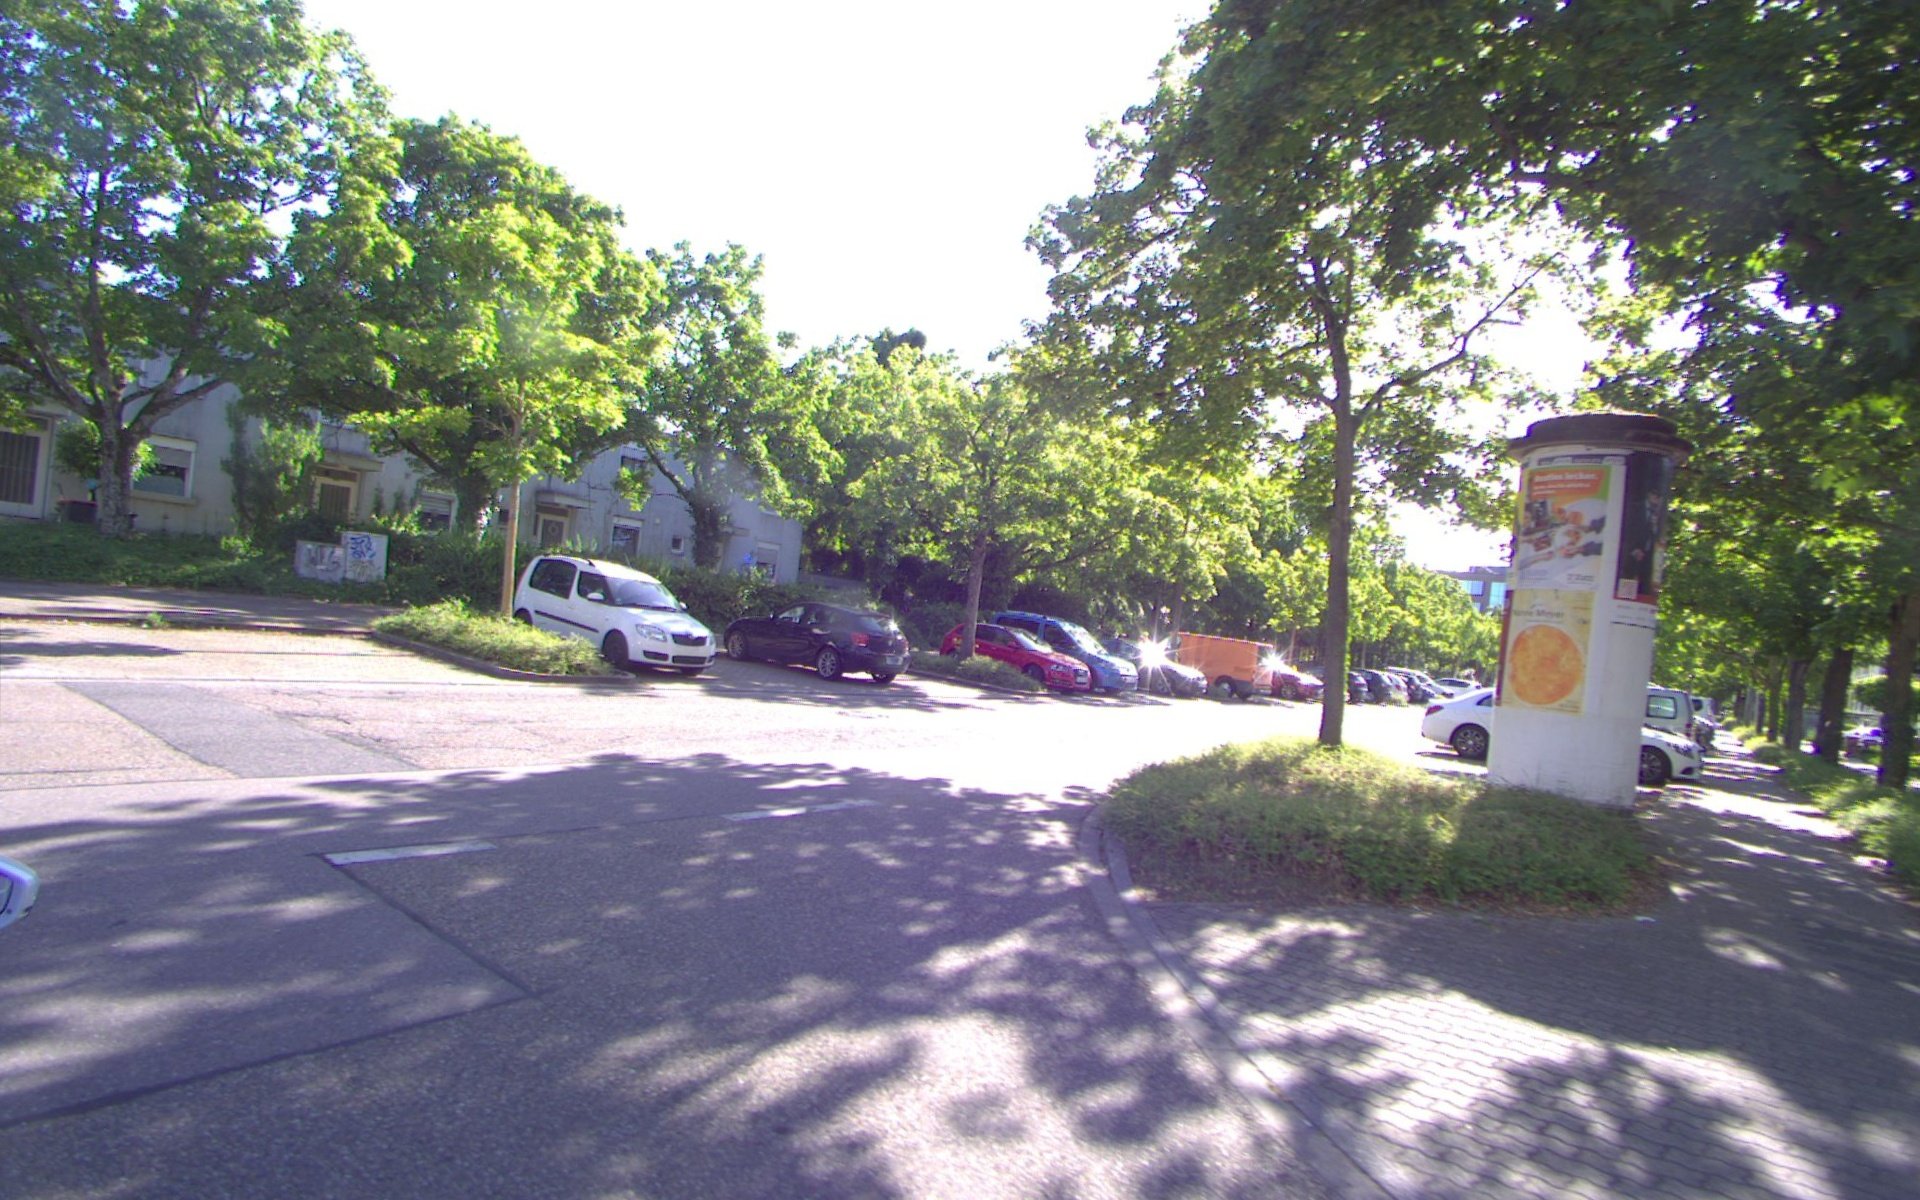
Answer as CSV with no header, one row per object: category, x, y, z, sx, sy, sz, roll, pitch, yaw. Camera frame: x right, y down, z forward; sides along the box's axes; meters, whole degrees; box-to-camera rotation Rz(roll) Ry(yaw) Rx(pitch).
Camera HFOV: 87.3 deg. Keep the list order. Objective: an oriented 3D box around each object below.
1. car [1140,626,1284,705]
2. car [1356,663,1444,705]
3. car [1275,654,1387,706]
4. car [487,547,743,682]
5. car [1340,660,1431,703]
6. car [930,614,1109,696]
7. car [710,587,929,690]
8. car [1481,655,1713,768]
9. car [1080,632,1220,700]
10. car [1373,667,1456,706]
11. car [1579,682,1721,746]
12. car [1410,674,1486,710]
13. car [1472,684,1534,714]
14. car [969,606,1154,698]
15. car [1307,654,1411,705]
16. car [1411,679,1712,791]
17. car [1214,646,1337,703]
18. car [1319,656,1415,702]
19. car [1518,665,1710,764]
car,8.692,2.229,34.763,4.193,2.058,1.967,8,1,36
car,25.625,4.855,58.603,4.193,1.737,1.968,8,1,36
car,16.619,3.584,45.104,4.193,1.634,1.968,8,1,36
car,-5.713,0.206,16.469,4.103,1.618,1.823,8,1,36
car,23.893,4.563,56.507,4.193,1.737,1.968,8,1,36
car,1.483,1.384,25.657,4.103,1.424,1.823,8,1,36
car,-2.856,0.738,20.056,4.103,1.424,1.823,8,1,36
car,15.851,2.724,25.164,4.565,2.015,1.994,7,-1,37
car,5.858,2.033,31.205,3.728,1.492,1.763,8,1,36
car,28.157,5.333,62.337,4.193,1.737,1.968,8,1,36
car,27.987,4.595,40.902,4.496,1.852,1.994,7,-1,37
car,32.920,6.175,67.855,4.193,1.737,1.968,8,1,36
car,44.967,8.182,83.322,4.193,1.737,1.968,8,1,36
car,2.715,1.402,27.601,4.592,1.795,1.823,8,1,36
car,19.489,3.875,49.198,4.193,1.775,1.968,8,1,36
car,11.283,2.453,19.042,4.621,1.423,1.822,4,-2,39
car,12.749,2.999,40.731,4.193,1.591,1.968,8,1,36
car,21.555,4.171,53.321,4.193,1.737,1.968,8,1,36
car,21.846,3.773,33.737,5.057,2.407,1.994,7,-1,37
